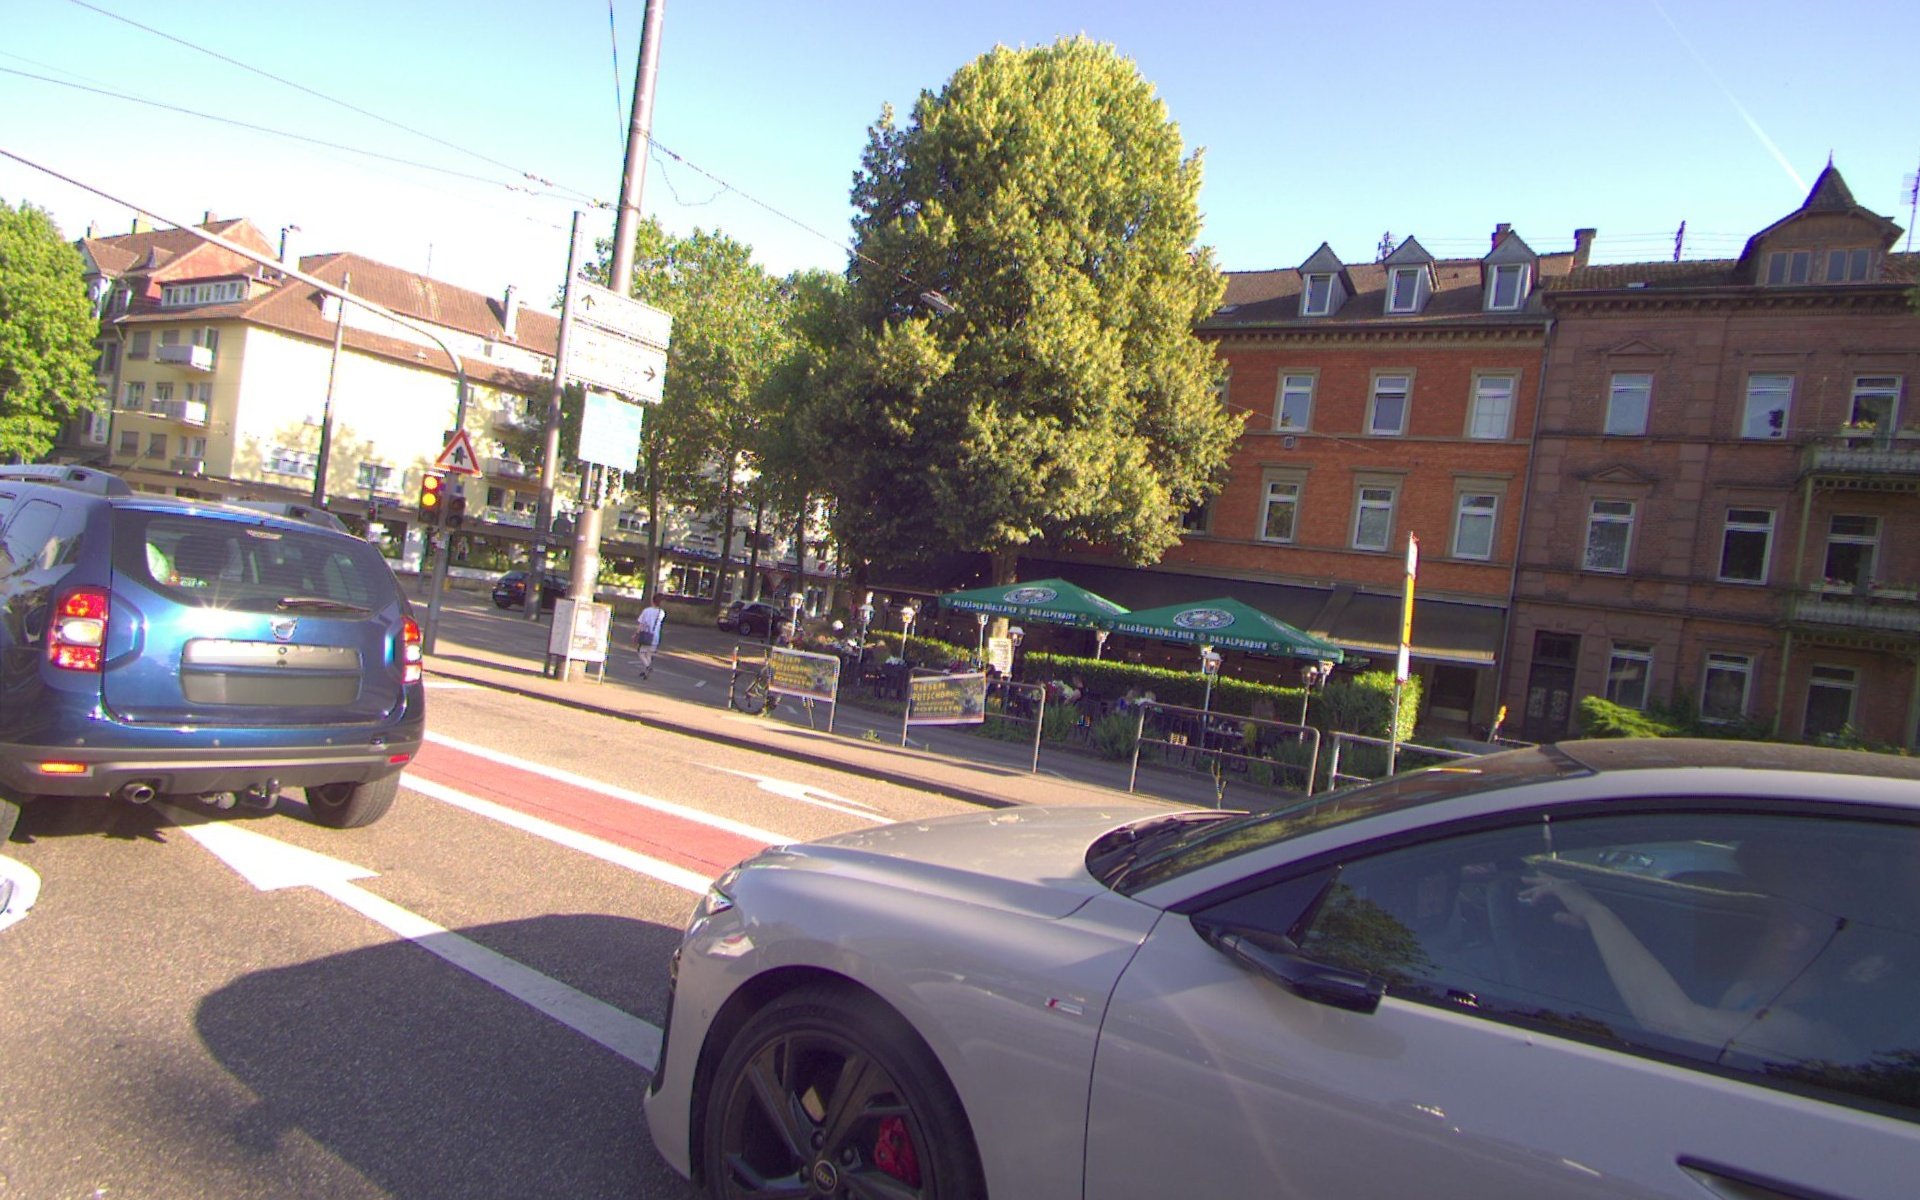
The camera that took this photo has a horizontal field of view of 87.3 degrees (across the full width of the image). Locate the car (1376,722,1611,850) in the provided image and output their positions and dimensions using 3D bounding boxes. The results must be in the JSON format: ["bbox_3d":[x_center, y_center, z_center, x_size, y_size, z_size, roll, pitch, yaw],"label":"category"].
[{"bbox_3d":[9.472,3.261,18.278,1.748,1.365,3.996,7,0,-5],"label":"car"}]

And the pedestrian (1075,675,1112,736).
[{"bbox_3d":[3.045,2.404,22.957,0.604,1.275,0.633,8,-2,14],"label":"pedestrian"}]

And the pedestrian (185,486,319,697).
[{"bbox_3d":[-6.720,-0.066,9.556,0.666,1.893,0.658,7,0,32],"label":"pedestrian"}]

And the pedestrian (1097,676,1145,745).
[{"bbox_3d":[3.396,2.329,21.186,0.621,1.352,0.650,7,-3,32],"label":"pedestrian"}]

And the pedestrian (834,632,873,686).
[{"bbox_3d":[-2.911,1.615,27.577,0.621,1.352,0.650,7,-3,32],"label":"pedestrian"}]

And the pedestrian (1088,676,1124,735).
[{"bbox_3d":[3.459,2.497,23.840,0.604,1.275,0.633,8,-2,14],"label":"pedestrian"}]

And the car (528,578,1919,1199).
[{"bbox_3d":[1.539,1.015,2.019,4.774,1.490,1.932,7,-1,32],"label":"car"}]

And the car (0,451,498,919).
[{"bbox_3d":[-4.575,0.190,5.343,3.978,1.657,1.803,7,-1,31],"label":"car"}]

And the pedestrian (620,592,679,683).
[{"bbox_3d":[-5.787,0.696,18.741,0.646,1.580,0.625,10,-3,-39],"label":"pedestrian"}]

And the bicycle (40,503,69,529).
[{"bbox_3d":[-43.861,-4.065,48.714,1.772,1.121,0.609,7,0,37],"label":"bicycle"}]

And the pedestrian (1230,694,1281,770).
[{"bbox_3d":[5.687,2.544,19.361,0.621,1.352,0.650,7,-3,32],"label":"pedestrian"}]

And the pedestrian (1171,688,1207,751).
[{"bbox_3d":[5.082,2.639,22.318,0.604,1.275,0.633,8,-2,14],"label":"pedestrian"}]

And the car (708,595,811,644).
[{"bbox_3d":[-8.657,0.873,43.675,1.775,1.528,3.983,8,-1,42],"label":"car"}]

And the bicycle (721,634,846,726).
[{"bbox_3d":[-2.546,1.134,14.436,1.770,1.087,0.499,6,-2,32],"label":"bicycle"}]

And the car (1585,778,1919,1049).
[{"bbox_3d":[8.906,3.155,10.042,4.285,1.920,1.799,6,-2,30],"label":"car"}]

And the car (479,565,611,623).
[{"bbox_3d":[-14.850,-0.176,36.198,1.775,1.455,4.041,8,-2,30],"label":"car"}]

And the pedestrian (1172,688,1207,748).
[{"bbox_3d":[5.253,2.692,22.991,0.604,1.275,0.633,8,-2,14],"label":"pedestrian"}]

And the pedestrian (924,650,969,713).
[{"bbox_3d":[-0.304,1.892,23.417,0.621,1.352,0.650,7,-3,32],"label":"pedestrian"}]

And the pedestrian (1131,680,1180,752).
[{"bbox_3d":[4.011,2.383,20.630,0.621,1.352,0.650,7,-3,32],"label":"pedestrian"}]

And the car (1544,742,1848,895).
[{"bbox_3d":[12.175,3.553,17.031,1.769,1.498,3.994,7,0,-7],"label":"car"}]

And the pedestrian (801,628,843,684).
[{"bbox_3d":[-3.631,1.472,26.492,0.621,1.352,0.650,7,-3,32],"label":"pedestrian"}]

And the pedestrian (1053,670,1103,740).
[{"bbox_3d":[2.505,2.226,21.427,0.643,1.352,0.628,10,-3,-28],"label":"pedestrian"}]

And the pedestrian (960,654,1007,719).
[{"bbox_3d":[0.535,1.973,22.789,0.621,1.352,0.650,7,-3,32],"label":"pedestrian"}]

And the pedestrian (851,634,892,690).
[{"bbox_3d":[-2.350,1.652,26.774,0.621,1.352,0.650,7,-3,32],"label":"pedestrian"}]

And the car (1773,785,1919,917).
[{"bbox_3d":[14.766,3.951,14.775,1.929,1.424,4.247,8,0,-3],"label":"car"}]
